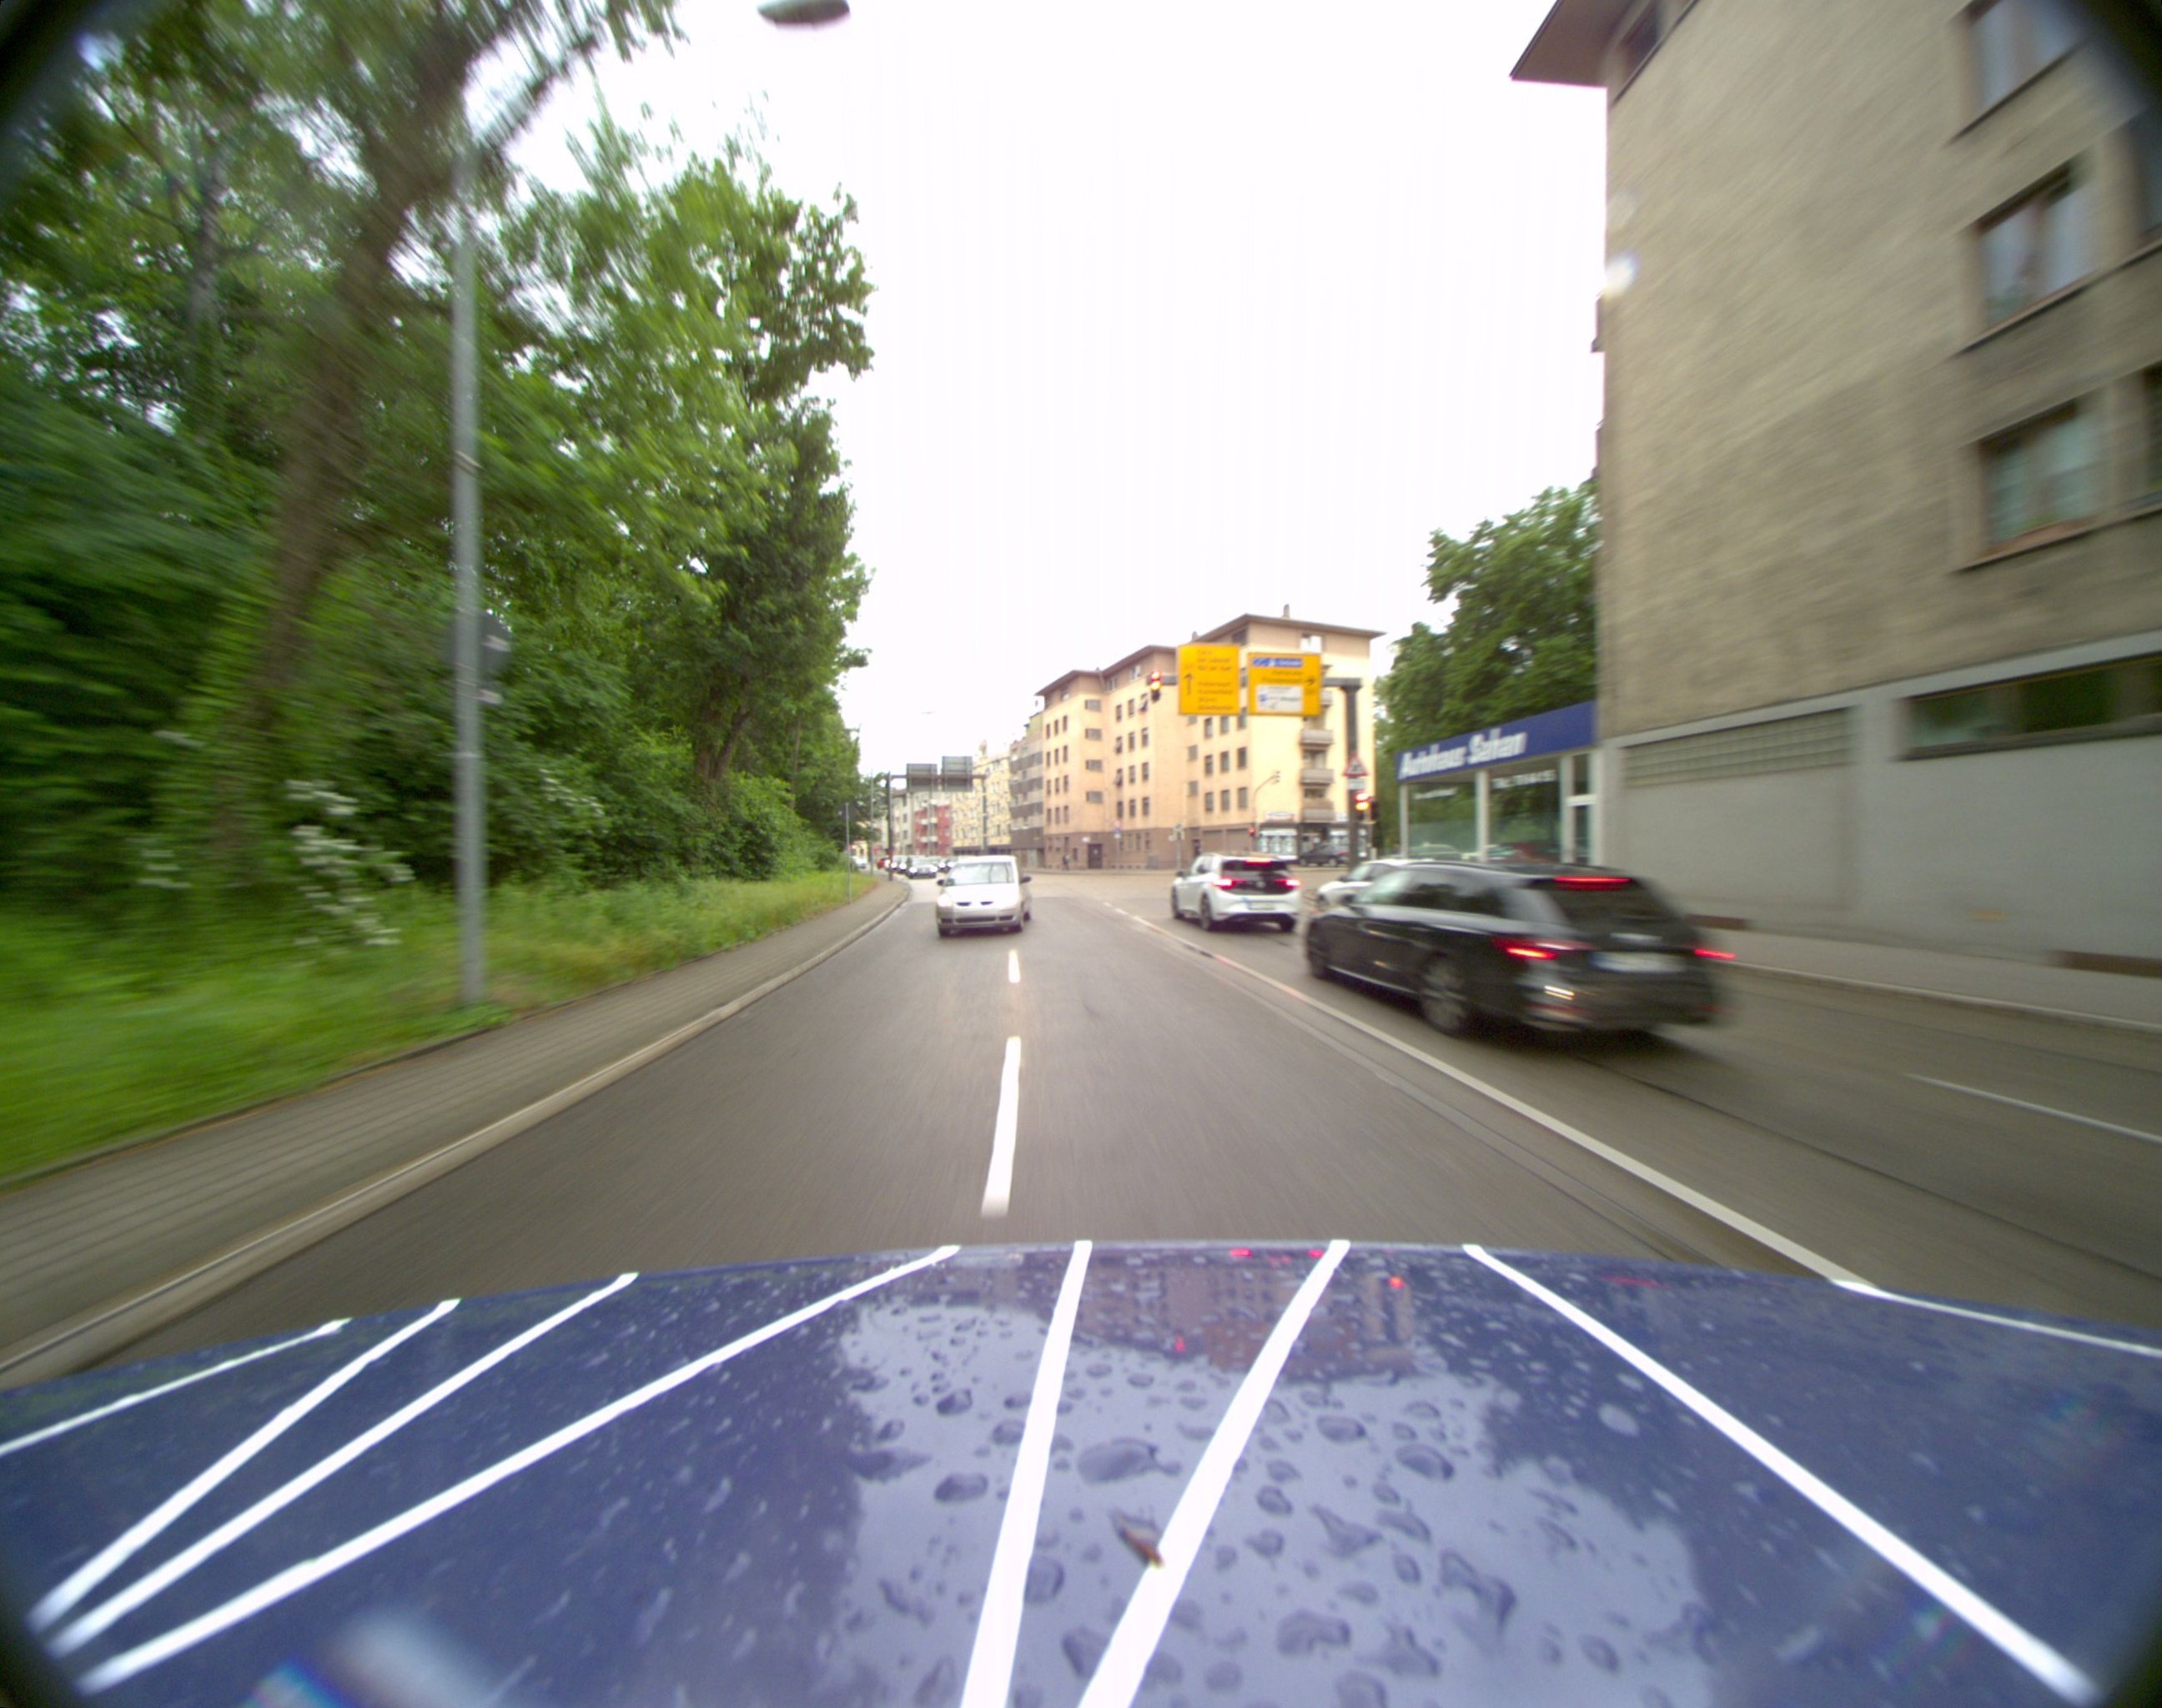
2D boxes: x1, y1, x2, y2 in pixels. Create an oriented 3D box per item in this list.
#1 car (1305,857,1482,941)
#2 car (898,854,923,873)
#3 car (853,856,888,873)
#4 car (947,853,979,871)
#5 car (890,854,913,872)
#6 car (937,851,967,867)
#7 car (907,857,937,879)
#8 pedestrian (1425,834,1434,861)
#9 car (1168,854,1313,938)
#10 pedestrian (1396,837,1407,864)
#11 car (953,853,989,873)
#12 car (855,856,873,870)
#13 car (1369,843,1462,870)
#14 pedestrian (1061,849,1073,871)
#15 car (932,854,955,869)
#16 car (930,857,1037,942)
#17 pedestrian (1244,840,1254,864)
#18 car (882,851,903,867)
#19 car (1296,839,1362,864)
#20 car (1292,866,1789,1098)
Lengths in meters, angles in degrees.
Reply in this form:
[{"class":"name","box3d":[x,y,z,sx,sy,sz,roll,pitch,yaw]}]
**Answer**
[{"class":"car","box3d":[6.167,0.815,15.533,1.663,1.447,3.998,1,0,-6]},{"class":"car","box3d":[-15.159,0.805,67.475,1.683,1.646,3.993,-1,0,-20]},{"class":"car","box3d":[-25.928,1.287,93.533,4.475,2.002,2.004,-1,1,42]},{"class":"car","box3d":[-10.124,0.654,64.909,1.922,1.469,4.612,-1,0,-19]},{"class":"car","box3d":[-17.299,0.818,73.135,1.683,1.646,3.993,-1,0,-20]},{"class":"car","box3d":[-12.121,0.435,71.024,2.002,1.469,4.612,-1,0,-20]},{"class":"car","box3d":[-11.306,0.990,53.906,1.821,1.400,4.226,-2,1,-15]},{"class":"pedestrian","box3d":[23.391,-0.436,51.029,0.508,1.793,0.498,-1,1,22]},{"class":"car","box3d":[3.145,0.770,15.913,1.790,1.487,4.213,0,0,-5]},{"class":"pedestrian","box3d":[21.402,-0.258,50.669,0.558,1.793,0.477,-1,1,36]},{"class":"car","box3d":[-8.537,0.675,58.635,1.881,1.469,4.546,-1,0,-20]},{"class":"car","box3d":[-28.446,1.152,99.574,1.912,1.701,4.888,-2,1,-19]},{"class":"car","box3d":[19.294,0.135,43.975,4.504,1.454,1.999,-1,1,-4]},{"class":"pedestrian","box3d":[-1.306,0.571,69.964,0.811,2.002,0.857,-2,0,-21]},{"class":"car","box3d":[-13.802,0.727,76.110,1.713,1.386,3.993,-1,0,-18]},{"class":"car","box3d":[-1.955,0.865,16.358,1.752,1.510,4.000,-2,0,-1]},{"class":"pedestrian","box3d":[11.524,-0.161,52.151,0.581,1.629,0.618,-1,1,1]},{"class":"car","box3d":[-19.862,0.531,79.940,1.683,1.646,3.993,-1,0,-20]},{"class":"car","box3d":[17.129,-0.200,52.600,1.762,1.638,4.271,-2,2,-30]},{"class":"car","box3d":[3.676,0.872,7.304,1.795,1.399,4.623,0,1,-3]}]
